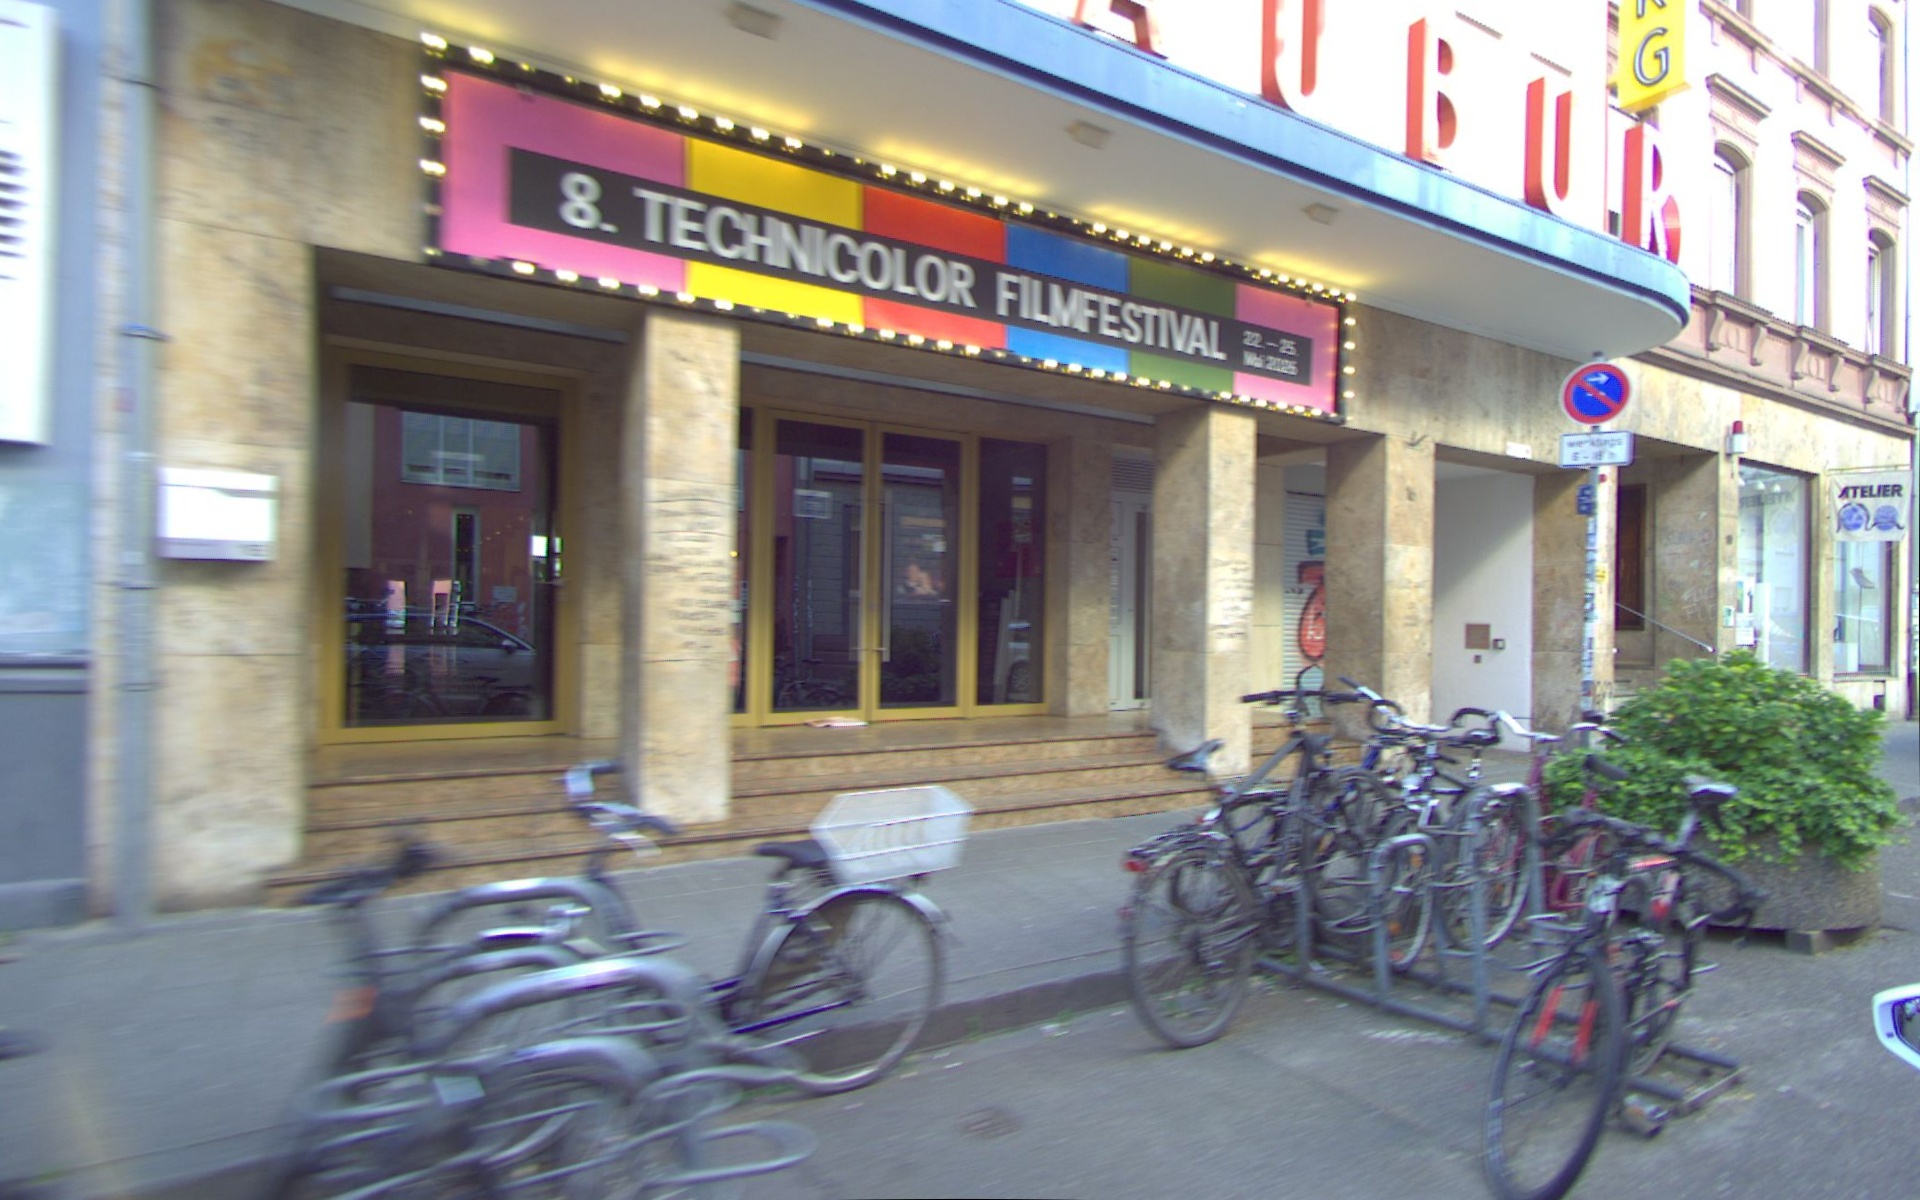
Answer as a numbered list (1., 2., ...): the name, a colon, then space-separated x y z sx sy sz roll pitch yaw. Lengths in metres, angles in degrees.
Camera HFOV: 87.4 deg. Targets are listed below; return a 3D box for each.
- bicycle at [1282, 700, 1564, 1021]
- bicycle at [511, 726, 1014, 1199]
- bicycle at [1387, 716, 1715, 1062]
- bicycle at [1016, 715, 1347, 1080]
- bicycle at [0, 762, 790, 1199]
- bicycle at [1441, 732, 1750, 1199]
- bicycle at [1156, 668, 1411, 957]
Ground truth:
1. bicycle: 2.196 1.109 4.669 1.653 1.189 0.396 1 0 -35
2. bicycle: -0.563 0.984 3.082 1.396 1.059 0.570 1 0 -36
3. bicycle: 2.515 1.081 4.179 1.846 1.061 0.439 1 0 -35
4. bicycle: 0.860 1.011 3.749 1.305 1.061 0.414 1 0 -35
5. bicycle: -1.252 0.923 1.624 1.863 1.108 0.542 1 0 -35
6. bicycle: 1.978 1.021 3.010 0.455 1.061 1.740 2 0 43
7. bicycle: 1.604 0.949 4.869 1.475 1.189 0.336 1 0 -35
